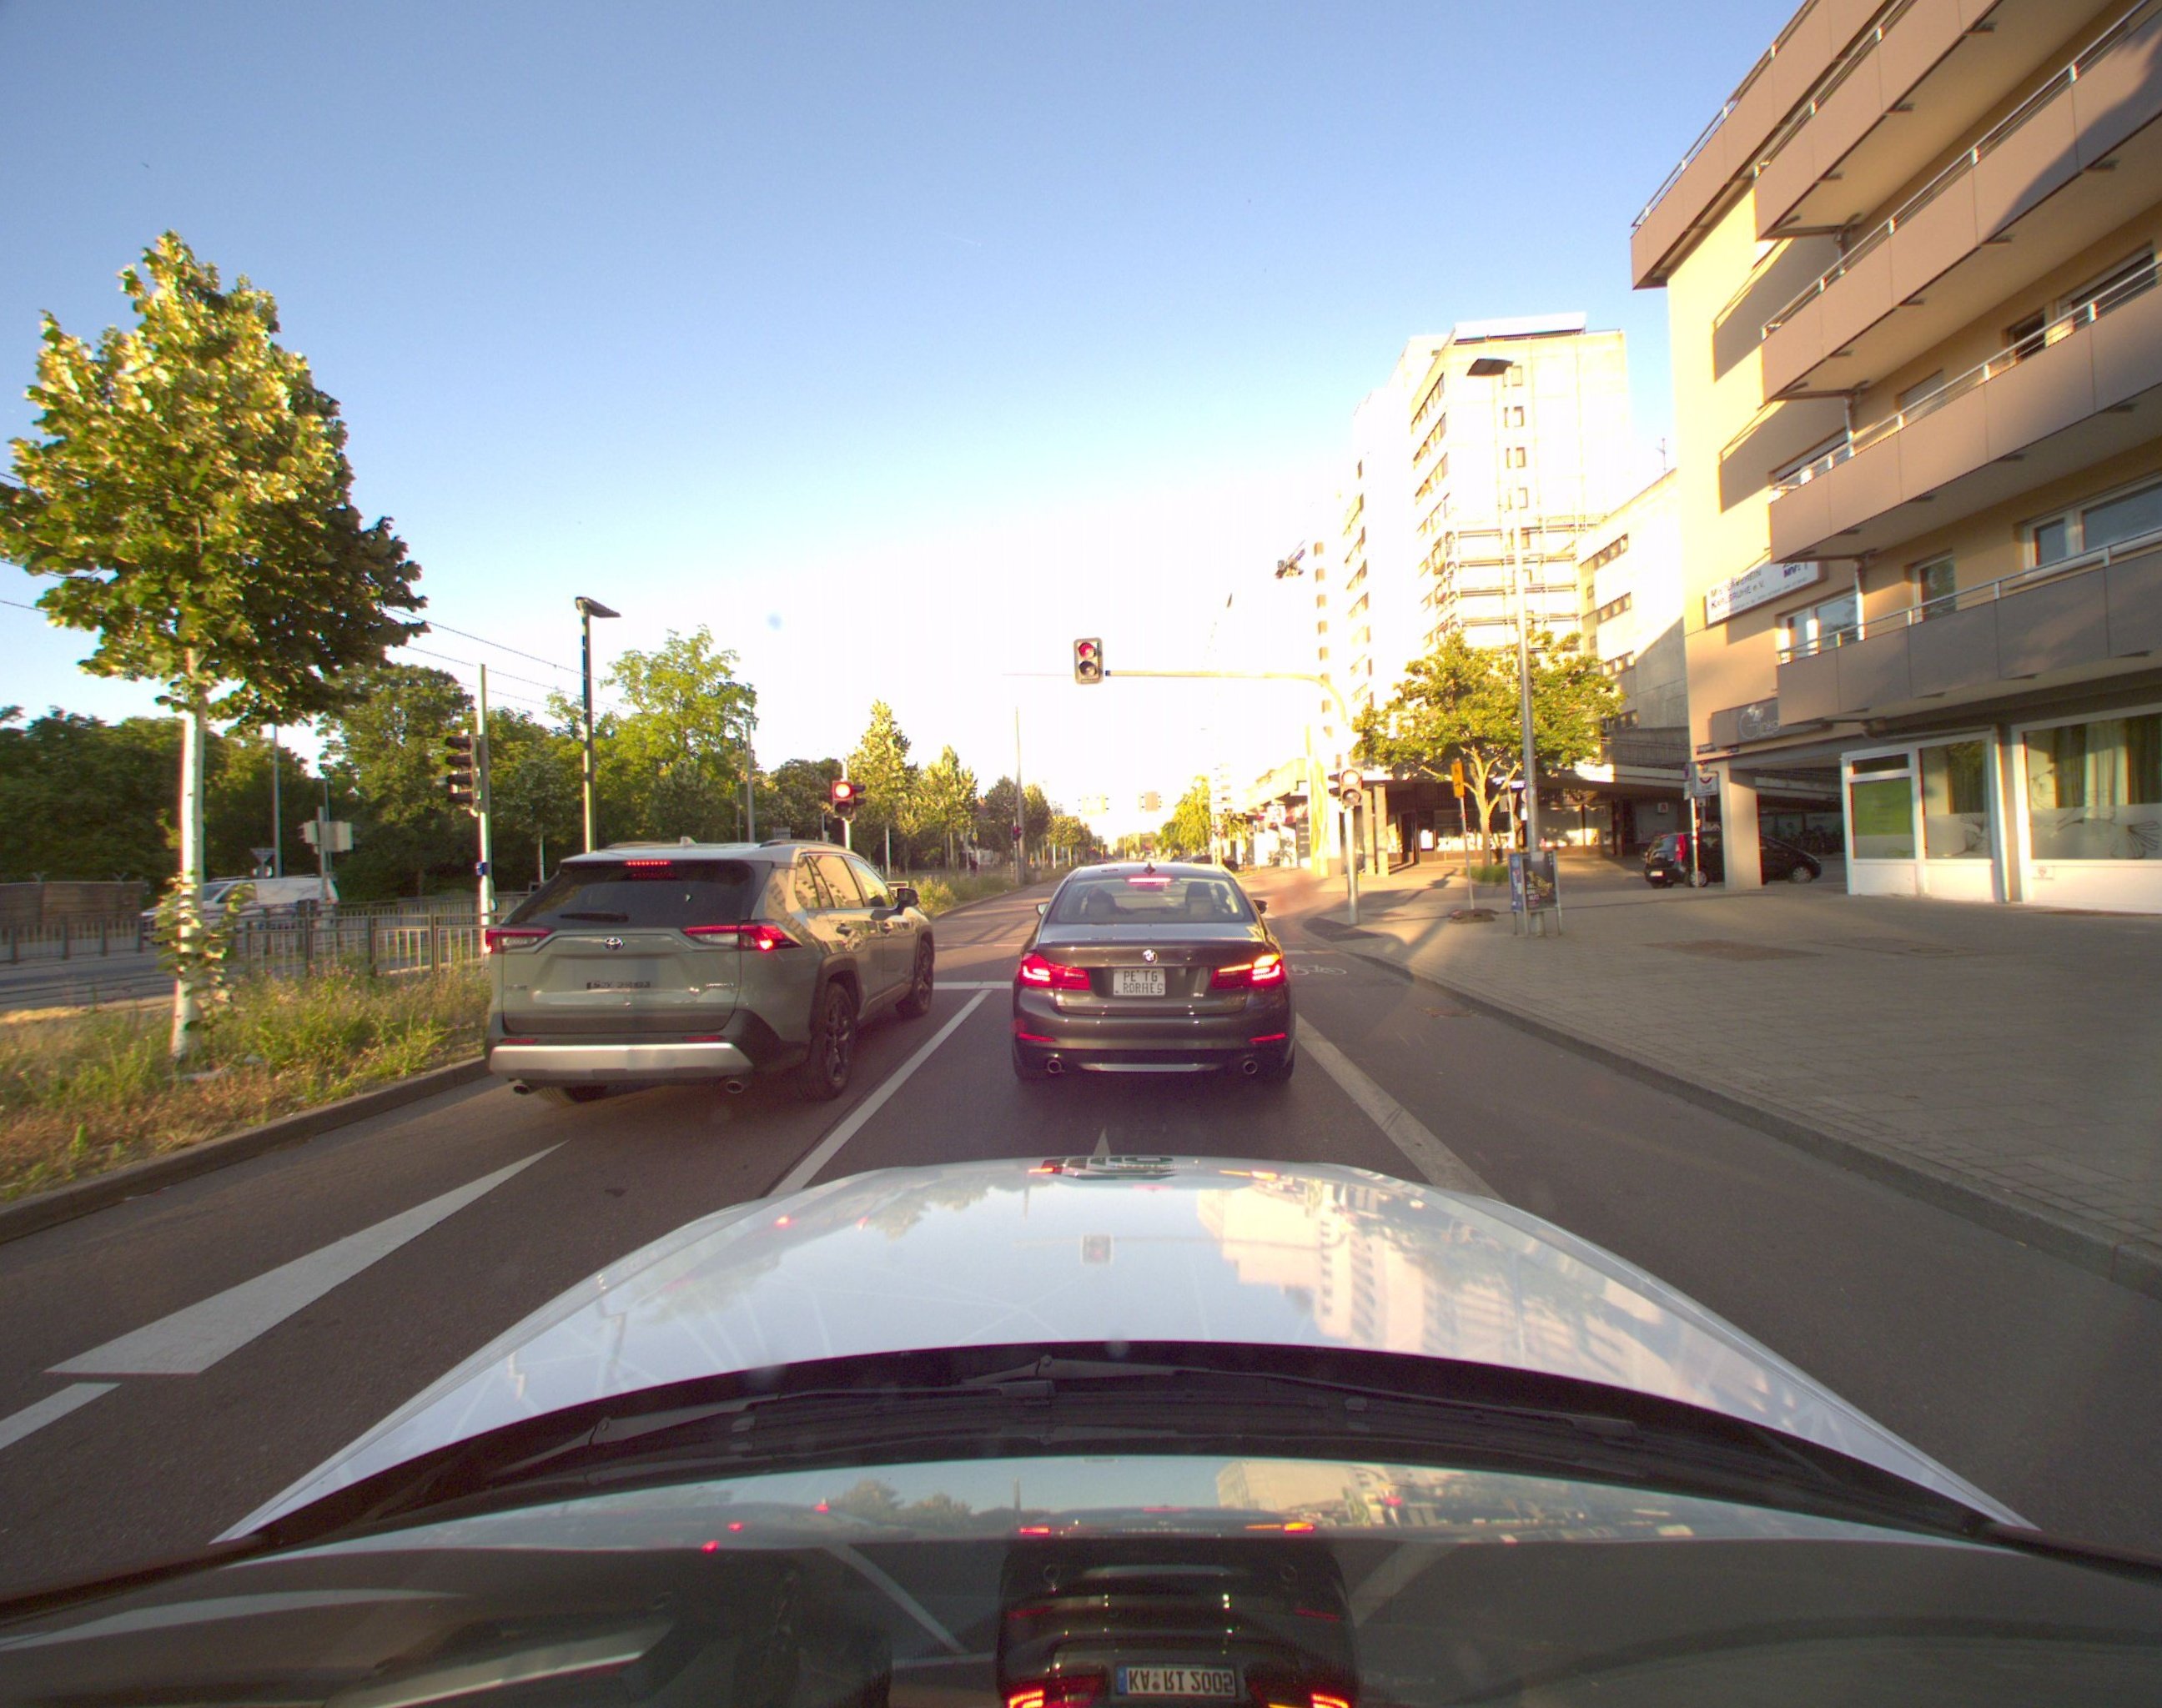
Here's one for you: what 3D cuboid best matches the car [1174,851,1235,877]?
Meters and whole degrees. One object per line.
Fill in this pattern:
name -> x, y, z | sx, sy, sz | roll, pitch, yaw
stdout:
car -> 8.593, 0.644, 56.587 | 4.291, 1.658, 1.839 | -2, 1, -40

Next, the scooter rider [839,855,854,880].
scooter rider -> -14.745, 0.858, 51.152 | 0.822, 1.514, 0.649 | -2, -1, -16

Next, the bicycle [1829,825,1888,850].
bicycle -> 35.280, -0.724, 36.978 | 0.580, 1.075, 1.971 | 1, -1, -9

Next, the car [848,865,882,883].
car -> -18.961, 1.738, 71.627 | 1.792, 1.481, 3.786 | -2, 0, 3

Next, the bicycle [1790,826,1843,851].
bicycle -> 33.449, -0.697, 37.078 | 0.579, 1.075, 1.976 | 1, -1, -1

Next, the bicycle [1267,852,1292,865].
bicycle -> 16.756, 0.381, 68.733 | 2.005, 1.149, 0.692 | 0, -1, 8

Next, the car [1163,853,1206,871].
car -> 10.800, 0.823, 85.069 | 4.284, 1.658, 1.841 | -2, 1, -33

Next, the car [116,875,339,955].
car -> -27.527, 1.873, 26.571 | 1.984, 2.168, 4.757 | -1, 1, 5

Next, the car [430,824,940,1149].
car -> -2.429, 0.656, 6.385 | 1.848, 1.658, 4.268 | -1, 1, 0

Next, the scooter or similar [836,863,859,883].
scooter or similar -> -14.663, 1.189, 51.170 | 1.332, 1.153, 0.511 | -2, -1, -16

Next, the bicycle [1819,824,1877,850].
bicycle -> 34.652, -0.747, 36.823 | 0.580, 1.075, 1.971 | 1, -1, -9

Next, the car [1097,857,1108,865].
car -> 3.883, 1.250, 147.072 | 1.971, 1.433, 4.846 | -1, 1, 2

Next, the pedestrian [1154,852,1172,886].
pedestrian -> 4.313, 0.789, 42.843 | 0.832, 1.712, 0.648 | -2, -1, 1

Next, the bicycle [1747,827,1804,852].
bicycle -> 31.814, -0.630, 37.335 | 0.582, 1.075, 1.966 | 1, -1, -17

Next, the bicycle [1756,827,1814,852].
bicycle -> 32.291, -0.647, 37.393 | 0.583, 1.075, 1.963 | 1, -1, -21

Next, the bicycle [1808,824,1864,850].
bicycle -> 34.038, -0.747, 36.754 | 0.579, 1.075, 1.974 | 1, -1, -4

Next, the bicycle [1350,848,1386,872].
bicycle -> 14.475, 0.314, 41.141 | 0.690, 1.149, 2.012 | 1, -1, -16

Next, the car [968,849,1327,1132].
car -> 0.503, 0.737, 6.691 | 1.923, 1.481, 4.527 | -1, 1, 4

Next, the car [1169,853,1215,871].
car -> 10.750, 0.768, 78.921 | 4.285, 1.658, 1.841 | -2, 1, -34

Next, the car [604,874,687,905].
car -> -25.075, 2.031, 47.070 | 1.983, 1.481, 4.531 | -1, 1, 6

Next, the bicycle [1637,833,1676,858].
bicycle -> 26.973, -0.386, 38.222 | 0.578, 1.075, 1.980 | 1, -1, 5

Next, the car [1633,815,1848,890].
car -> 17.169, 0.006, 21.381 | 4.020, 1.585, 1.708 | -4, -4, 6

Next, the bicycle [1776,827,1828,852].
bicycle -> 32.889, -0.662, 37.176 | 0.579, 1.075, 1.976 | 1, -1, -1

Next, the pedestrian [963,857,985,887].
pedestrian -> -5.916, 1.006, 44.938 | 0.816, 1.586, 0.827 | -2, -1, -42
